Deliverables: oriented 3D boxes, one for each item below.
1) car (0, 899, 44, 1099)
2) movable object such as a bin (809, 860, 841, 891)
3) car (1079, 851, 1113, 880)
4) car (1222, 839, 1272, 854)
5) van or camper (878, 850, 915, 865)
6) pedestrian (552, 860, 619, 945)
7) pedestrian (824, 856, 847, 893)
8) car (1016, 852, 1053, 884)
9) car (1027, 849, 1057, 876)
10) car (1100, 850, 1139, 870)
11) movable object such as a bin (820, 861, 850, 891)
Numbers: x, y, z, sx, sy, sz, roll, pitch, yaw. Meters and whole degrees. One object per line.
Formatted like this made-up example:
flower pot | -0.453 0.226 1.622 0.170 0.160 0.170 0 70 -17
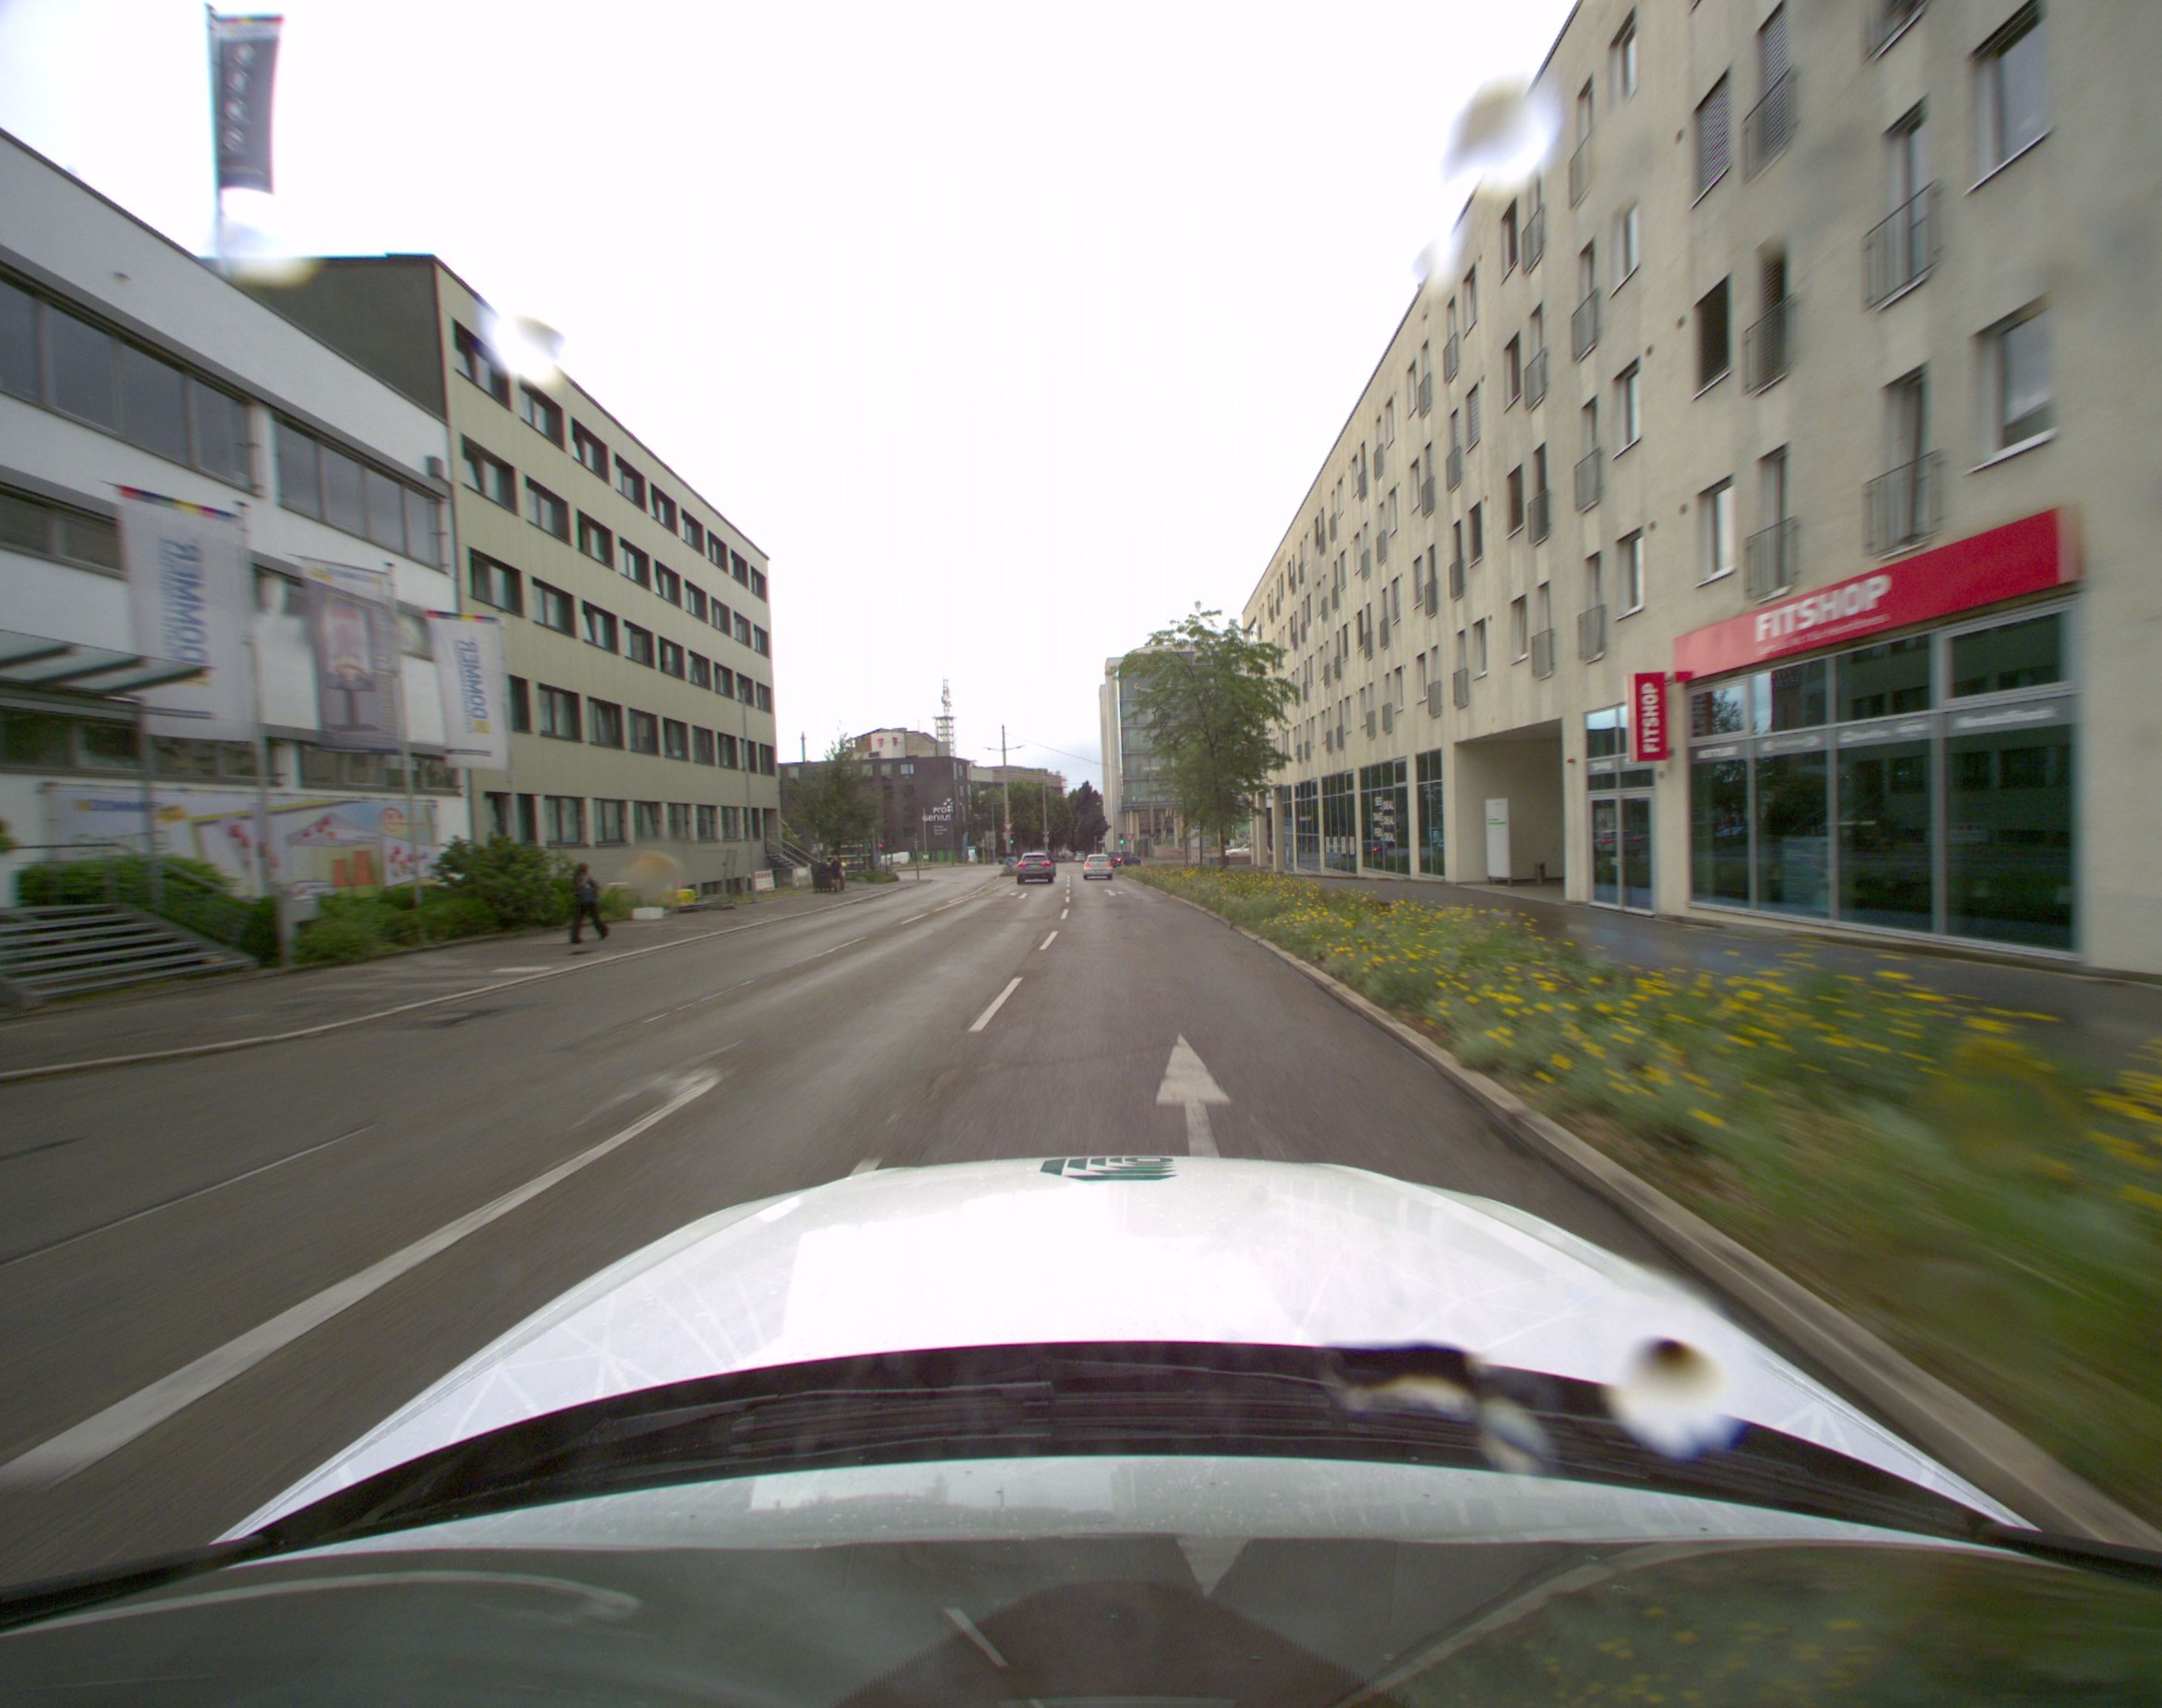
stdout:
car | -8.880 1.146 4.891 1.512 1.510 2.976 -4 0 -6
movable object such as a bin | -12.366 1.039 39.389 1.050 1.445 1.430 0 -1 1
car | 0.852 0.660 48.577 1.667 1.473 3.775 -2 2 -3
car | 17.584 -0.769 86.307 4.935 1.387 1.822 -2 1 -3
van or camper | -29.968 0.576 132.361 5.315 2.369 2.737 0 -1 -2
pedestrian | -10.149 0.966 16.722 0.764 1.676 0.968 0 -1 0
pedestrian | -11.460 0.952 38.083 0.752 1.732 0.942 0 -1 2
car | -2.463 0.728 43.988 1.903 1.632 4.207 -1 0 -2
car | -2.805 0.572 57.905 1.850 1.768 4.123 -2 0 -6
car | 3.407 0.496 71.263 1.976 1.573 4.023 -1 2 24
movable object such as a bin | -12.356 1.084 40.914 1.050 1.445 1.358 0 -1 1
